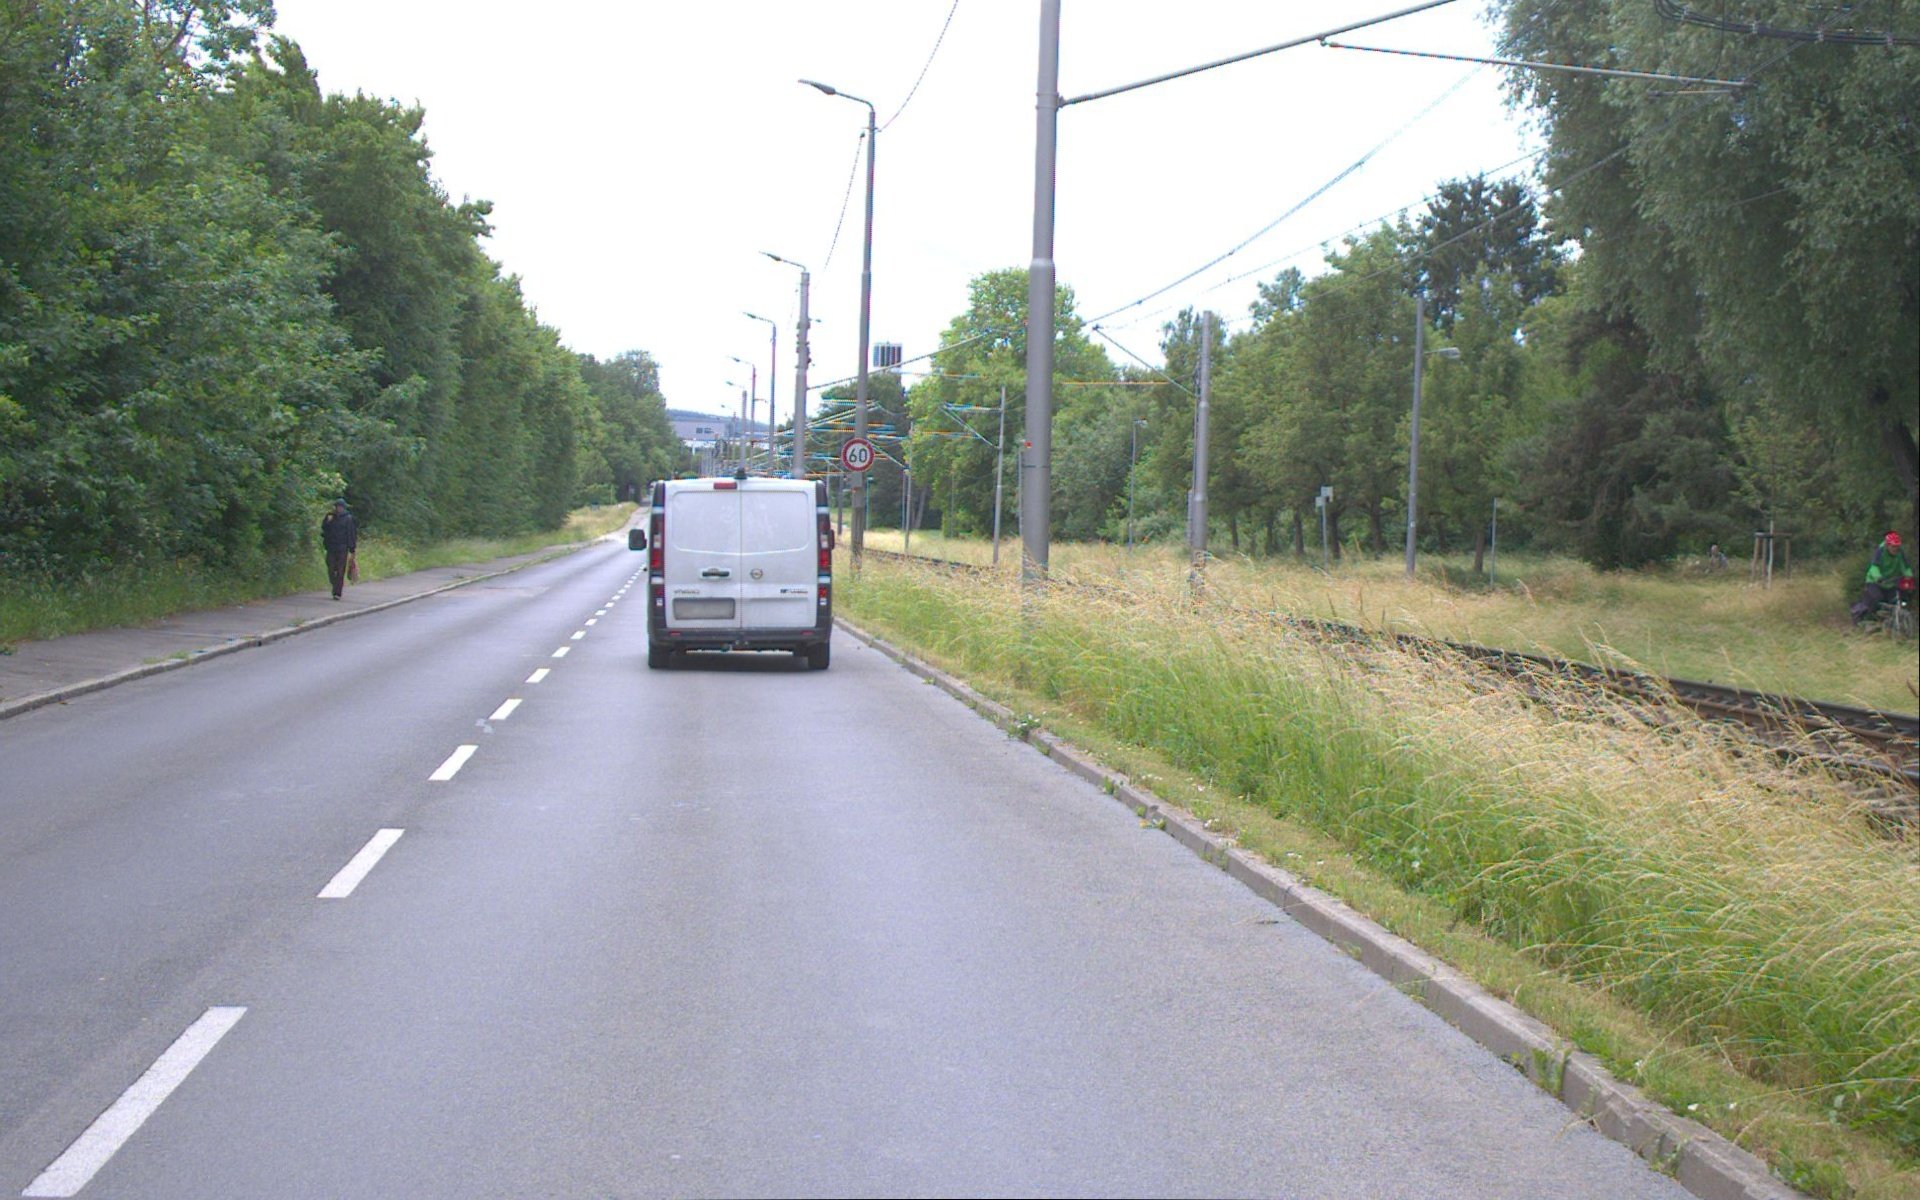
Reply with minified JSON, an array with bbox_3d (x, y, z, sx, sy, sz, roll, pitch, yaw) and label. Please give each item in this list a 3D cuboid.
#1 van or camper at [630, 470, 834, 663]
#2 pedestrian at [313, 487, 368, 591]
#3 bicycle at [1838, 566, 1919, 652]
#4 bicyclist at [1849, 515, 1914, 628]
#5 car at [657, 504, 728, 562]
[{"bbox_3d":[-2.448,-0.370,35.977,1.941,1.890,4.286,0,1,-6],"label":"van or camper"},{"bbox_3d":[-10.584,-1.047,58.755,0.867,1.763,0.789,-1,2,-8],"label":"pedestrian"},{"bbox_3d":[14.170,0.128,52.846,0.580,1.242,1.930,1,2,-8],"label":"bicycle"},{"bbox_3d":[14.173,-0.445,52.877,0.580,1.690,0.936,2,1,-8],"label":"bicyclist"},{"bbox_3d":[-7.943,-1.988,101.998,1.993,1.587,4.001,3,1,-5],"label":"car"}]
